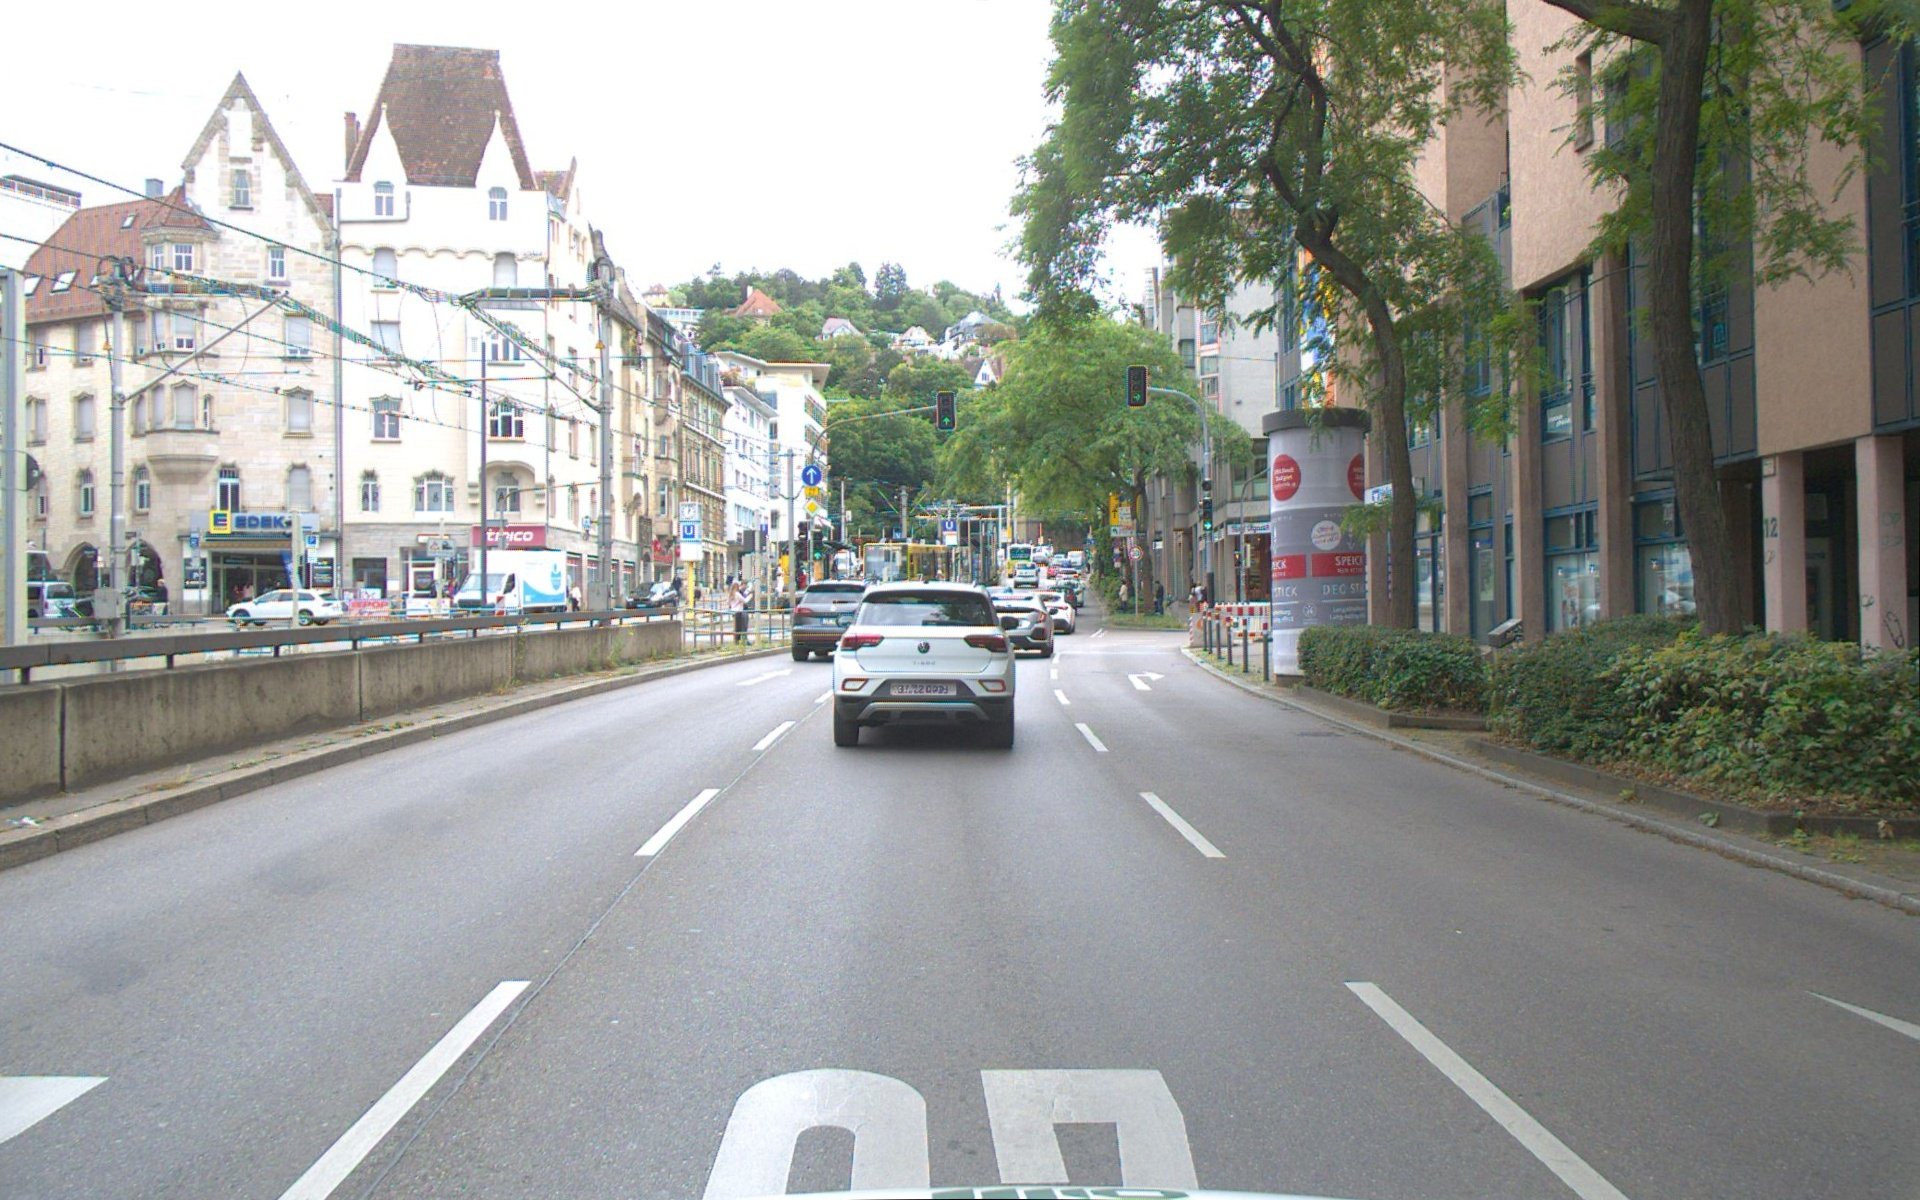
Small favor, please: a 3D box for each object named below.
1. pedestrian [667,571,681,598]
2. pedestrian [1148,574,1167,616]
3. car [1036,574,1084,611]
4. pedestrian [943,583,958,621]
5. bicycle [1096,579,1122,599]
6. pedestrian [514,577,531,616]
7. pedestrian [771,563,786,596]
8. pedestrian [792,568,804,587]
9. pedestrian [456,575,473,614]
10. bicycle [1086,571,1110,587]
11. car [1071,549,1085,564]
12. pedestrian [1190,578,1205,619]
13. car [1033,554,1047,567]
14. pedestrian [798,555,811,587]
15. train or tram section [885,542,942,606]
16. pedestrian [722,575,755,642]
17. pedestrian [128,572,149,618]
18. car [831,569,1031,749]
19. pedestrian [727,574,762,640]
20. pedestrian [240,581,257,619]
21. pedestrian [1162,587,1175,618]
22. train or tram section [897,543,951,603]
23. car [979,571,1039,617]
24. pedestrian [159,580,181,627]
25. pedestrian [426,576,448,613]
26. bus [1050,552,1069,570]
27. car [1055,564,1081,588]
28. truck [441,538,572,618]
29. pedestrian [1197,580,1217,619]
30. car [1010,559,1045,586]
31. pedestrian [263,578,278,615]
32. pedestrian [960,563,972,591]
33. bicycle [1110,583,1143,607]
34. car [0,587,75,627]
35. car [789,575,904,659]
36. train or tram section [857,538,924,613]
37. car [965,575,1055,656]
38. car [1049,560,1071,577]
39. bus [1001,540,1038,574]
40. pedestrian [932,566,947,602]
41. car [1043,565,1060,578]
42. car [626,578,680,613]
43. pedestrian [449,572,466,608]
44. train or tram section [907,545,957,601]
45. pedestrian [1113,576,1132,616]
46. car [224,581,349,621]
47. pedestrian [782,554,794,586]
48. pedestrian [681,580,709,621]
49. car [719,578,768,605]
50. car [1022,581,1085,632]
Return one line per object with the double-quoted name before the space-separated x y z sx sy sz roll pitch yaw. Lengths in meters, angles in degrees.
"pedestrian" -19.004 -1.058 109.963 0.622 1.793 0.835 0 0 -39
"pedestrian" 9.088 -0.228 75.964 0.706 1.834 0.835 -2 3 0
"car" 5.706 -0.440 95.242 2.317 2.049 5.147 1 0 -1
"pedestrian" -0.423 0.095 76.599 0.622 1.741 0.872 0 1 4
"bicycle" 9.300 -0.695 103.176 1.585 1.147 0.614 -2 1 8
"pedestrian" -20.251 -0.156 76.587 0.499 1.811 0.577 0 0 18
"pedestrian" -9.729 -1.117 88.702 0.673 1.741 0.662 0 1 3
"pedestrian" -9.386 -1.312 95.930 0.622 1.127 0.690 0 1 4
"pedestrian" -22.662 -0.248 75.653 0.563 1.811 0.512 0 0 9
"bicycle" 11.254 -1.730 135.100 1.841 1.288 0.765 1 0 15
"car" 13.806 -5.110 193.933 1.638 1.588 3.680 1 0 4
"pedestrian" 10.466 -0.066 72.960 0.508 1.820 0.764 1 0 0
"car" 9.862 -4.874 204.841 1.638 1.588 3.988 1 0 4
"pedestrian" -8.637 -1.619 91.821 0.613 1.793 0.847 0 0 5
"train or tram section" -2.697 -1.551 97.664 2.775 3.582 5.755 1 1 4
"pedestrian" -5.807 0.213 43.384 0.748 1.751 0.638 0 0 3
"pedestrian" -32.288 -0.205 65.006 0.564 1.811 0.510 0 0 30
"car" -0.355 0.528 17.163 1.801 1.611 4.155 1 0 -3
"pedestrian" -5.755 0.190 44.167 0.775 1.751 0.773 0 0 3
"pedestrian" -34.318 0.009 79.782 0.503 1.811 0.573 0 0 44
"pedestrian" 9.456 0.115 75.023 0.461 1.357 0.520 1 0 0
"train or tram section" -2.236 -1.687 103.431 2.775 3.582 5.755 1 1 4
"car" 2.348 -0.297 77.807 2.314 2.049 5.152 1 0 7
"pedestrian" -30.693 0.135 64.284 0.499 1.811 0.577 0 0 16
"pedestrian" -24.609 -0.271 77.853 0.765 1.735 0.654 0 0 9
"bus" 12.107 -4.735 201.129 1.953 2.049 3.999 1 0 -1
"car" 8.248 -1.817 126.079 1.845 1.713 4.163 1 0 4
"truck" -18.682 -0.870 68.696 2.218 3.130 7.381 1 0 10
"pedestrian" 10.615 -0.028 71.009 0.746 1.640 0.619 -1 3 15
"car" 5.447 -2.148 132.303 2.314 2.049 5.152 1 0 7
"pedestrian" -33.746 -0.178 80.978 0.564 1.811 0.510 0 0 -10
"pedestrian" 0.363 -1.450 104.415 0.702 1.761 0.671 1 0 5
"bicycle" 8.856 -0.292 87.868 1.674 1.204 0.448 -2 1 -4
"car" -39.829 0.266 69.650 4.403 1.588 1.756 1 0 13
"car" -2.334 0.329 35.038 1.952 1.664 4.002 0 0 3
"train or tram section" -3.562 -1.306 86.168 2.775 3.742 5.755 1 1 4
"car" 1.189 0.319 37.637 1.845 1.713 4.163 1 0 4
"car" 10.785 -3.365 177.389 1.844 1.713 4.165 1 0 10
"bus" 6.116 -4.315 168.165 3.301 3.118 13.331 1 0 4
"pedestrian" -0.993 -0.790 81.409 0.671 1.741 0.712 0 1 4
"car" 8.852 -2.724 159.960 1.549 1.193 3.680 1 0 4
"car" -16.227 -0.256 87.706 1.638 1.790 4.785 1 0 4
"pedestrian" -22.722 -0.448 74.786 0.563 1.610 0.512 0 0 3
"train or tram section" -1.798 -1.806 109.177 2.775 3.582 5.755 1 1 4
"pedestrian" 7.592 -0.203 77.321 0.679 1.808 0.689 -4 0 0
"car" -27.869 0.031 68.506 4.408 1.588 1.754 1 0 -1
"pedestrian" -9.657 -1.688 92.867 0.623 1.741 0.689 0 1 -5
"pedestrian" -11.284 0.033 70.402 0.859 1.735 0.810 0 0 33
"car" -12.679 -0.498 97.063 1.621 1.579 4.539 0 1 9
"car" 3.318 0.218 59.320 1.847 1.713 4.159 1 0 -3
